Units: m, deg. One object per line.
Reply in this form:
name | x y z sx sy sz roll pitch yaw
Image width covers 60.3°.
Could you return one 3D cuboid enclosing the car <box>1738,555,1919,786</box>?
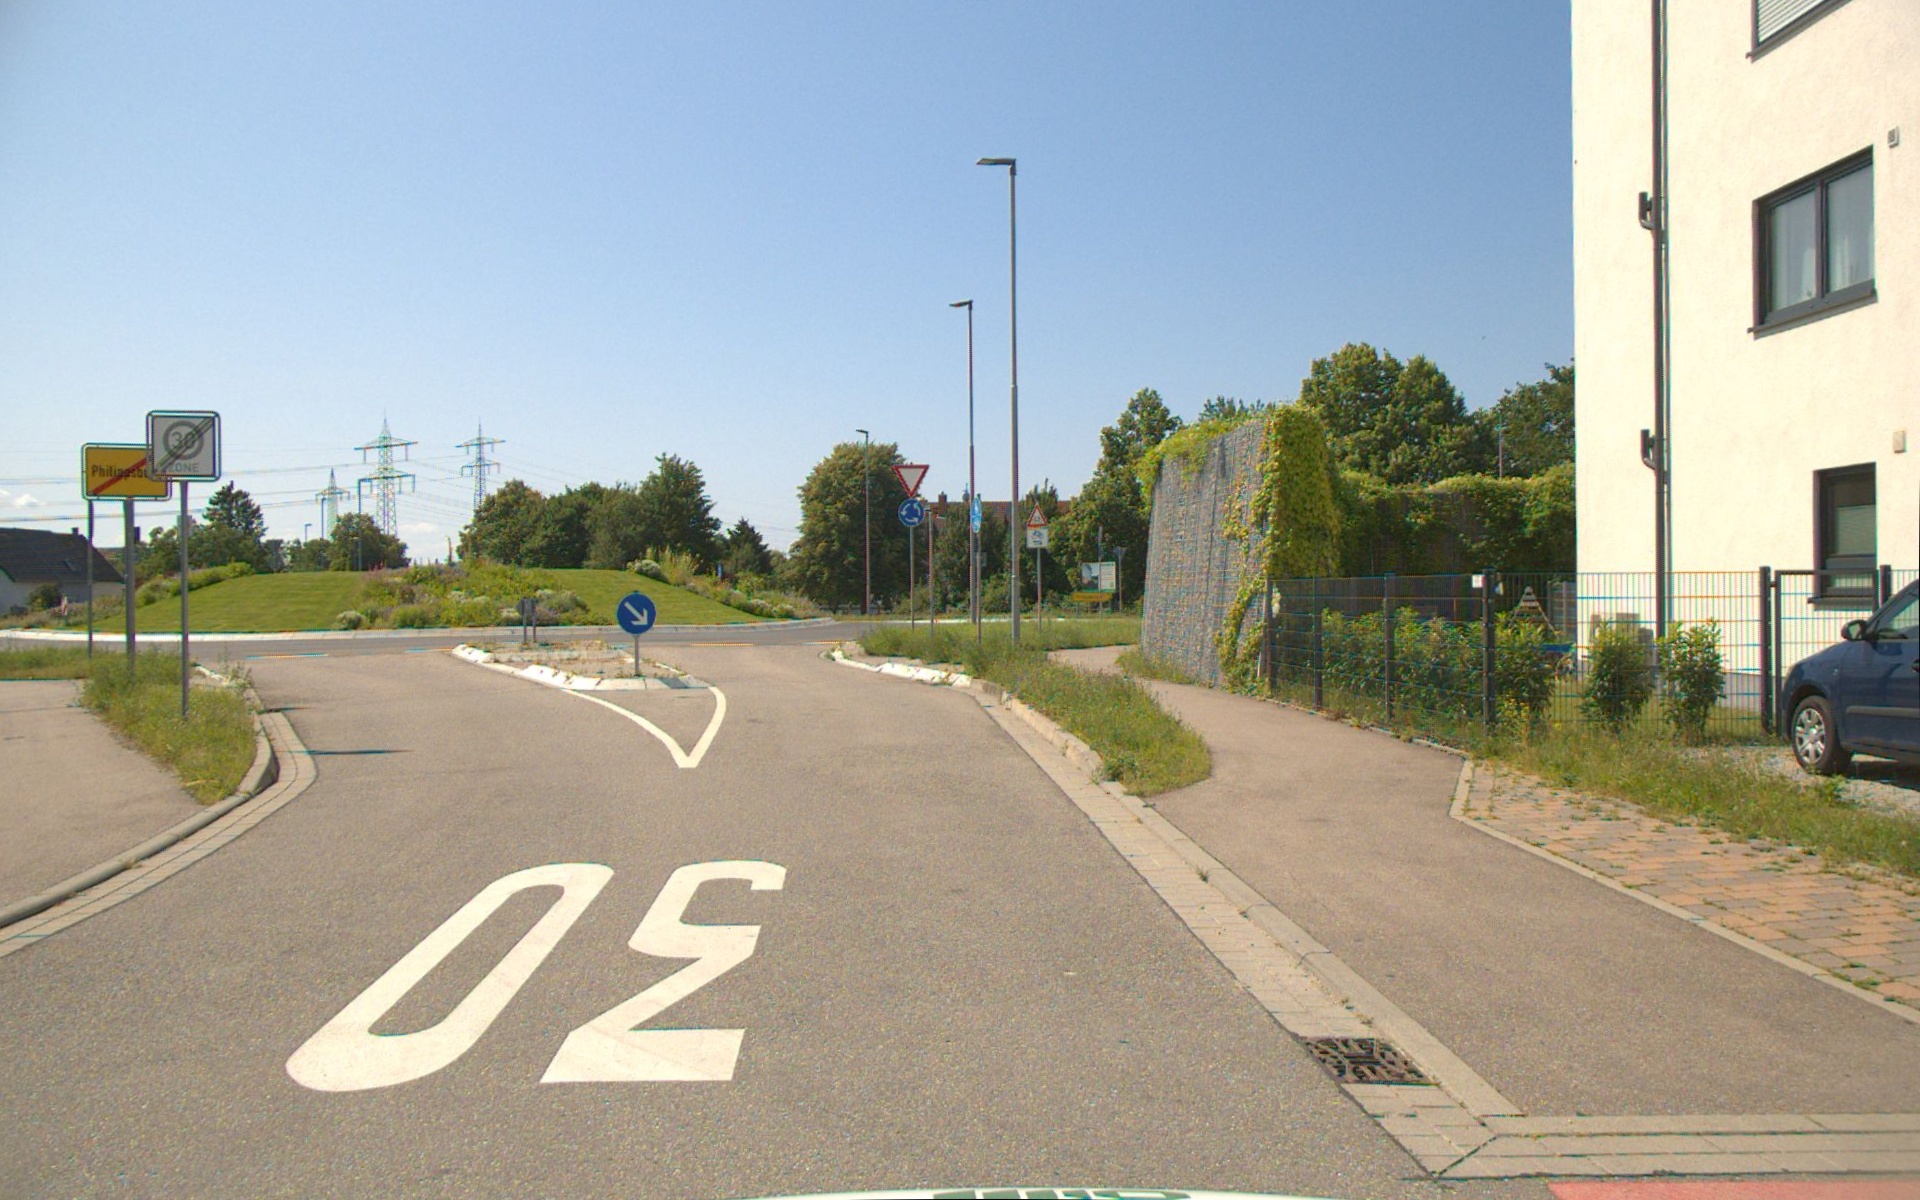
car | 7.016 0.452 10.950 1.644 1.495 4.114 0 1 -3
